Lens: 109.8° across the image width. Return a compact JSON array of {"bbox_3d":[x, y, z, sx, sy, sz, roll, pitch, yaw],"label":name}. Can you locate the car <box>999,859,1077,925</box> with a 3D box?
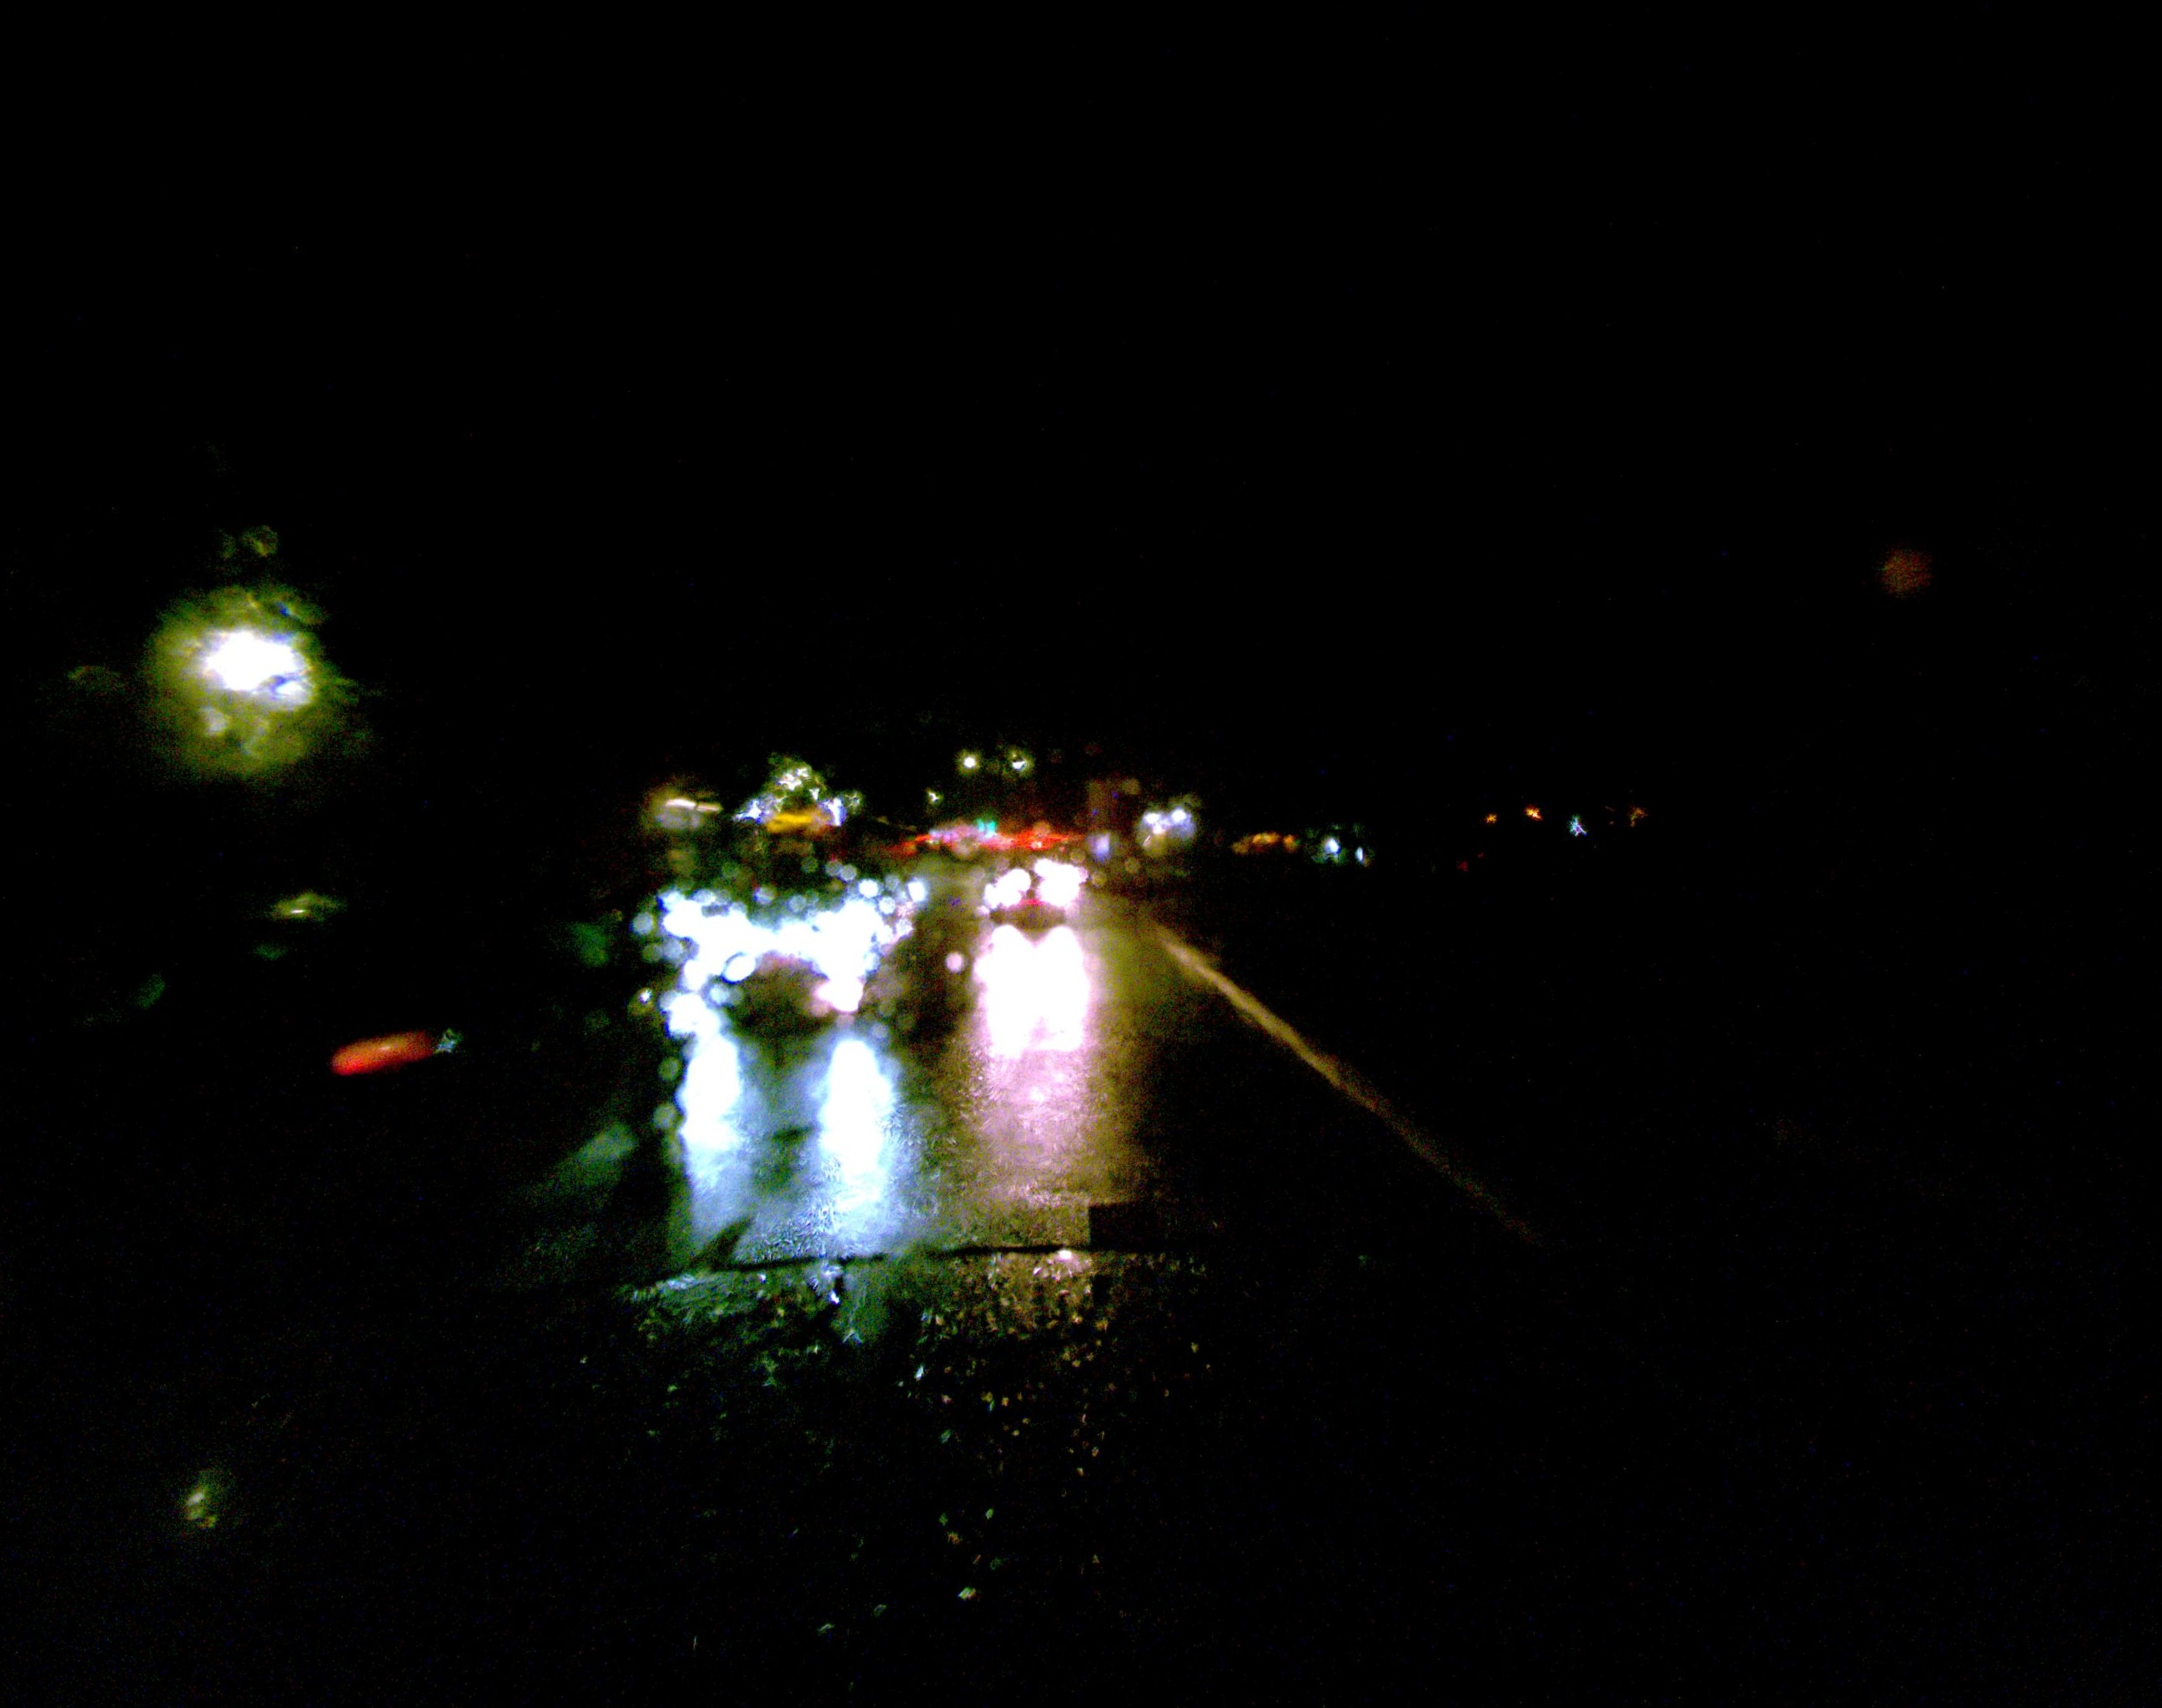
[{"bbox_3d":[-1.142,0.871,19.158,1.756,1.438,3.971,0,1,-5],"label":"car"}]

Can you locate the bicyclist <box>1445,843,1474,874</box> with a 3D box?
[{"bbox_3d":[17.576,0.200,35.291,0.629,1.427,1.187,-1,1,-9],"label":"bicyclist"}]

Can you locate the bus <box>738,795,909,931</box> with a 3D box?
[{"bbox_3d":[-7.372,0.160,23.391,2.742,3.258,9.693,-2,1,-6],"label":"bus"}]

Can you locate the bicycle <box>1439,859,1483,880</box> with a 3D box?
[{"bbox_3d":[17.593,0.721,35.228,0.628,0.899,2.211,-1,1,-9],"label":"bicycle"}]

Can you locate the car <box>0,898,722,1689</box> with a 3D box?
[{"bbox_3d":[-3.155,1.041,2.751,1.724,1.438,4.161,-1,1,0],"label":"car"}]

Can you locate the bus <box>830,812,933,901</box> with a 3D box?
[{"bbox_3d":[-8.323,0.043,33.027,2.742,3.219,9.693,-2,1,-6],"label":"bus"}]

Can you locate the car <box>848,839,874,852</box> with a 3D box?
[{"bbox_3d":[-23.731,-0.923,81.930,1.712,1.382,3.990,-2,1,-32],"label":"car"}]

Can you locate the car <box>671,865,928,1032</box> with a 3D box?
[{"bbox_3d":[-3.317,1.007,9.921,1.724,1.478,4.161,-4,1,0],"label":"car"}]

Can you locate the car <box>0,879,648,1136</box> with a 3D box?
[{"bbox_3d":[-6.480,1.102,7.446,1.724,1.478,4.786,-1,1,0],"label":"car"}]

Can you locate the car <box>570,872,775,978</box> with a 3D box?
[{"bbox_3d":[-7.138,1.147,13.826,1.725,1.478,4.160,0,1,-4],"label":"car"}]
